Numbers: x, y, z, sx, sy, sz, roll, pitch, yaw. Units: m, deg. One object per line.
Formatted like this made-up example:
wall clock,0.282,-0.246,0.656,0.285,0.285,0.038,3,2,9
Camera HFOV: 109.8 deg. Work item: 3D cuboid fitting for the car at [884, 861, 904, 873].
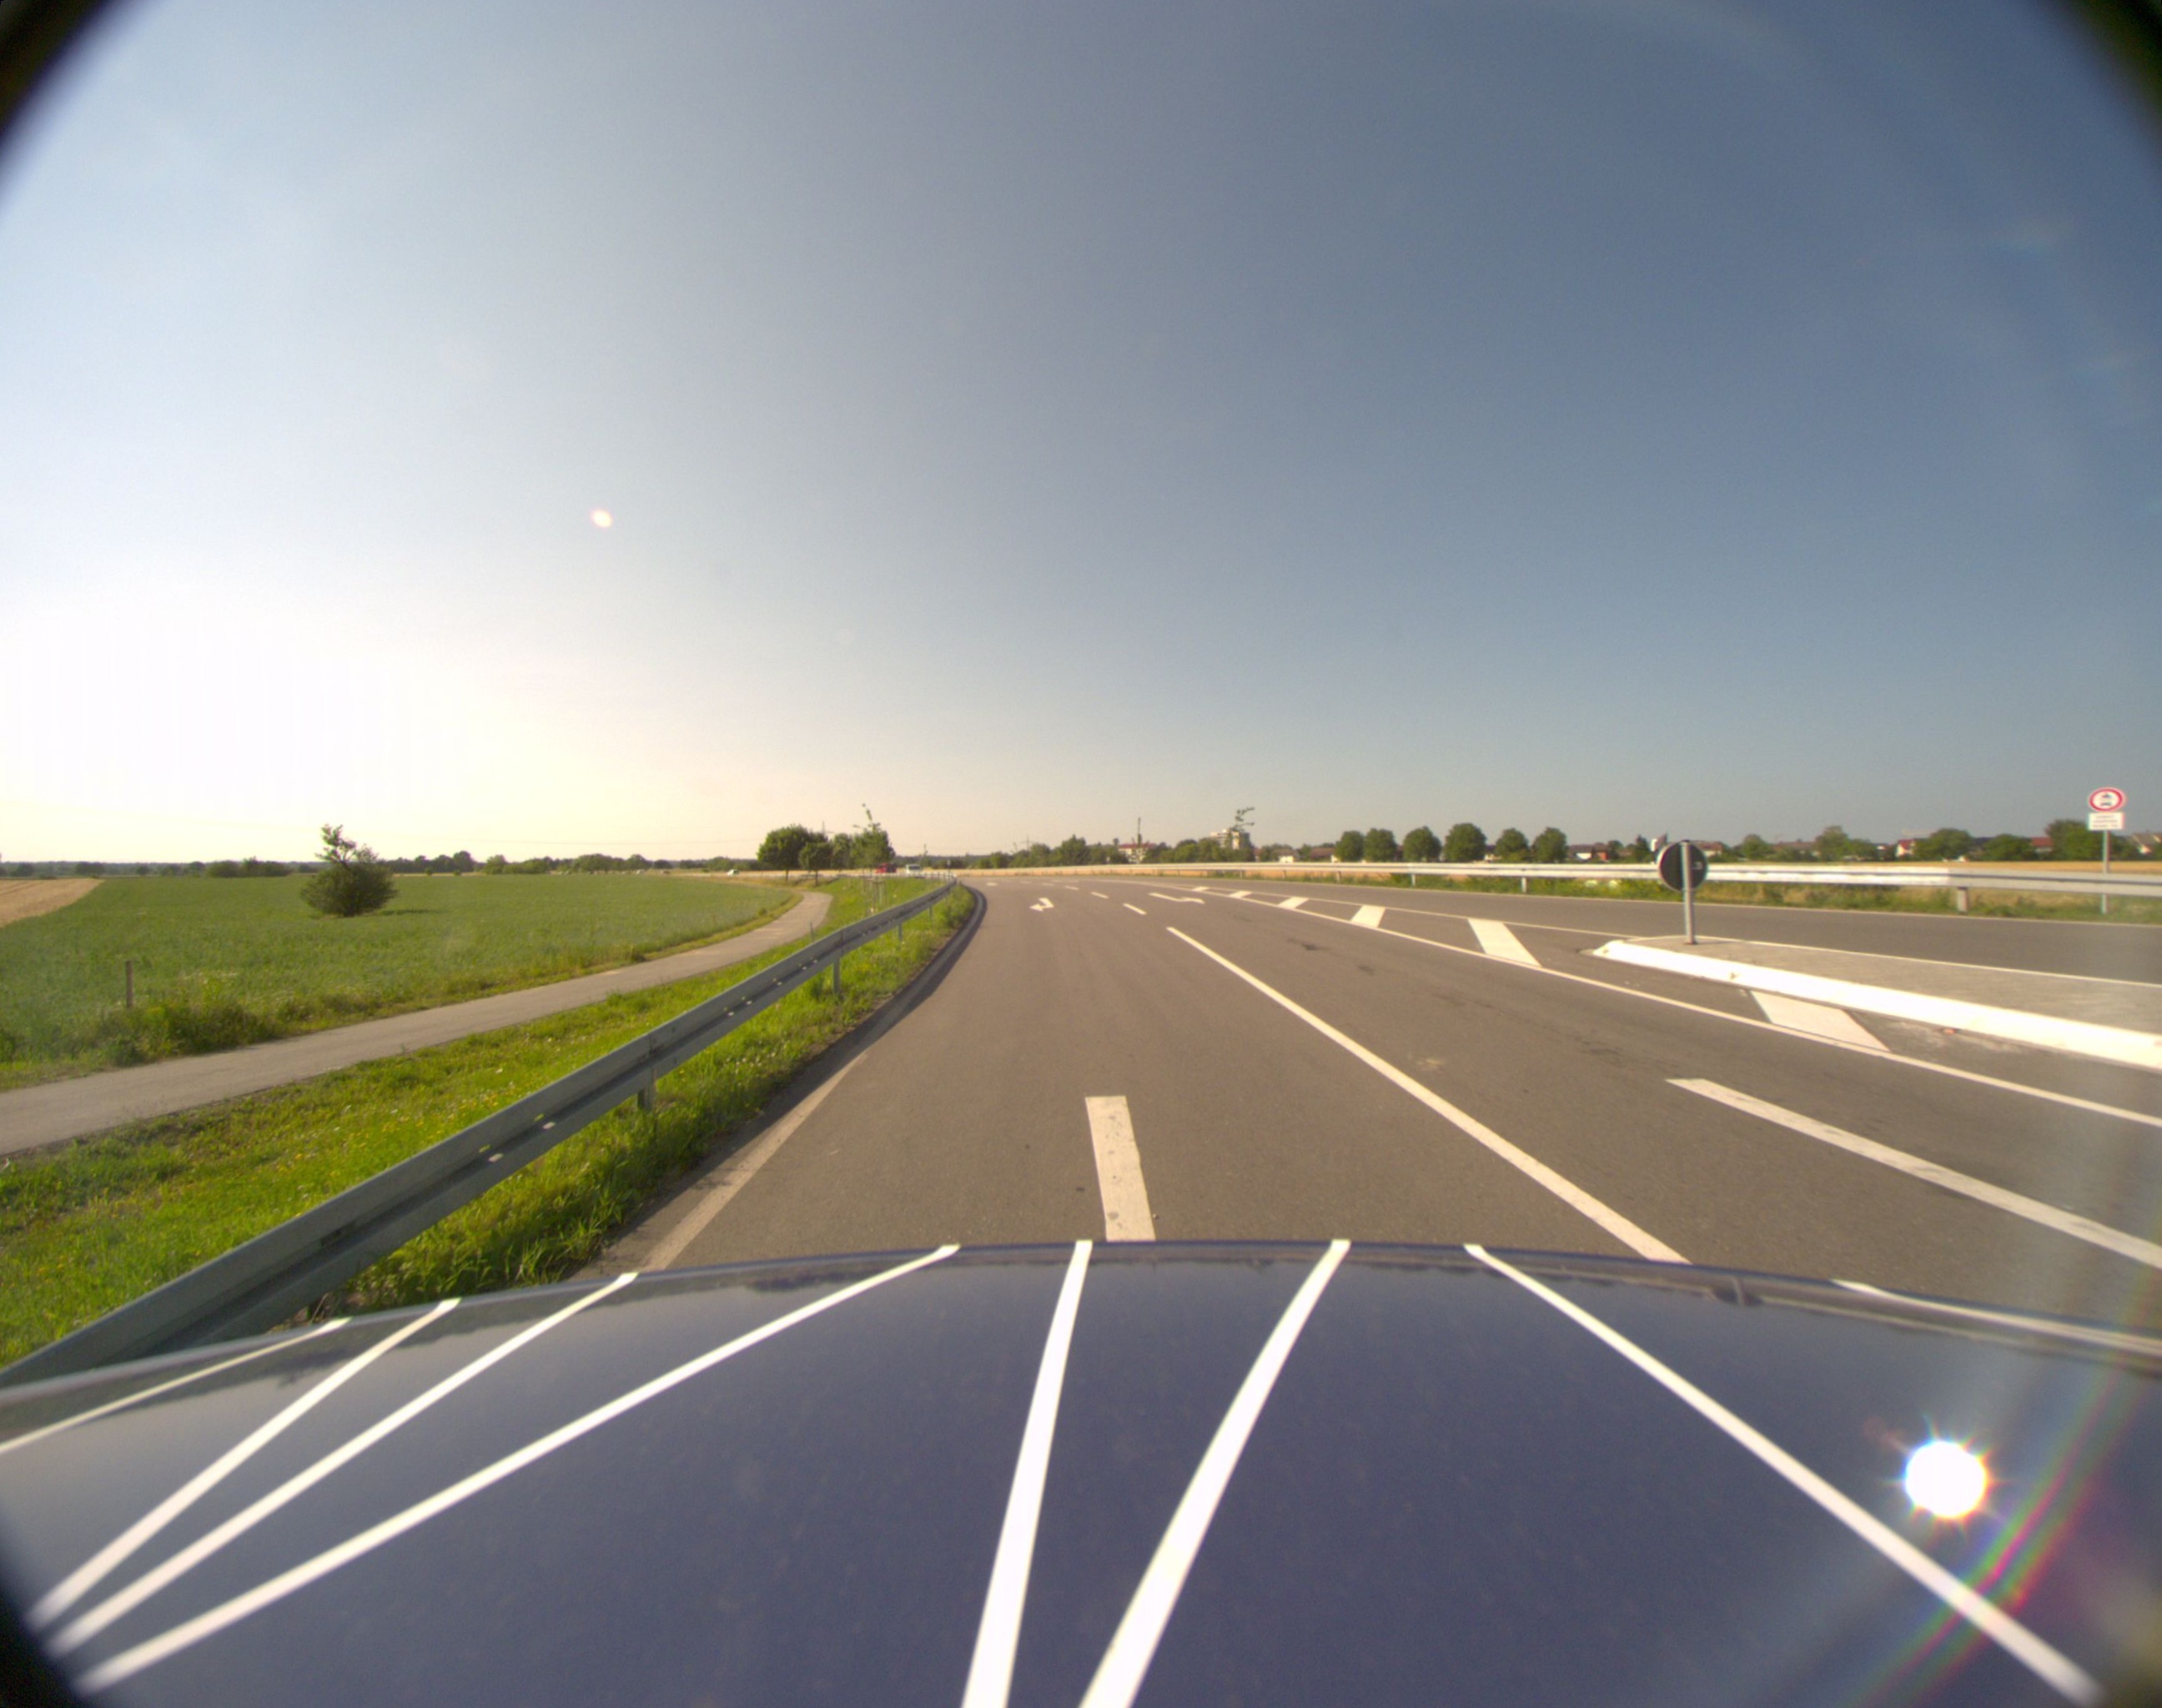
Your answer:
car,-27.776,1.930,112.693,1.817,1.663,3.991,-3,1,-29

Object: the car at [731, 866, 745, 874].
car,-79.915,3.801,177.004,2.004,1.746,3.989,-1,-1,-42
